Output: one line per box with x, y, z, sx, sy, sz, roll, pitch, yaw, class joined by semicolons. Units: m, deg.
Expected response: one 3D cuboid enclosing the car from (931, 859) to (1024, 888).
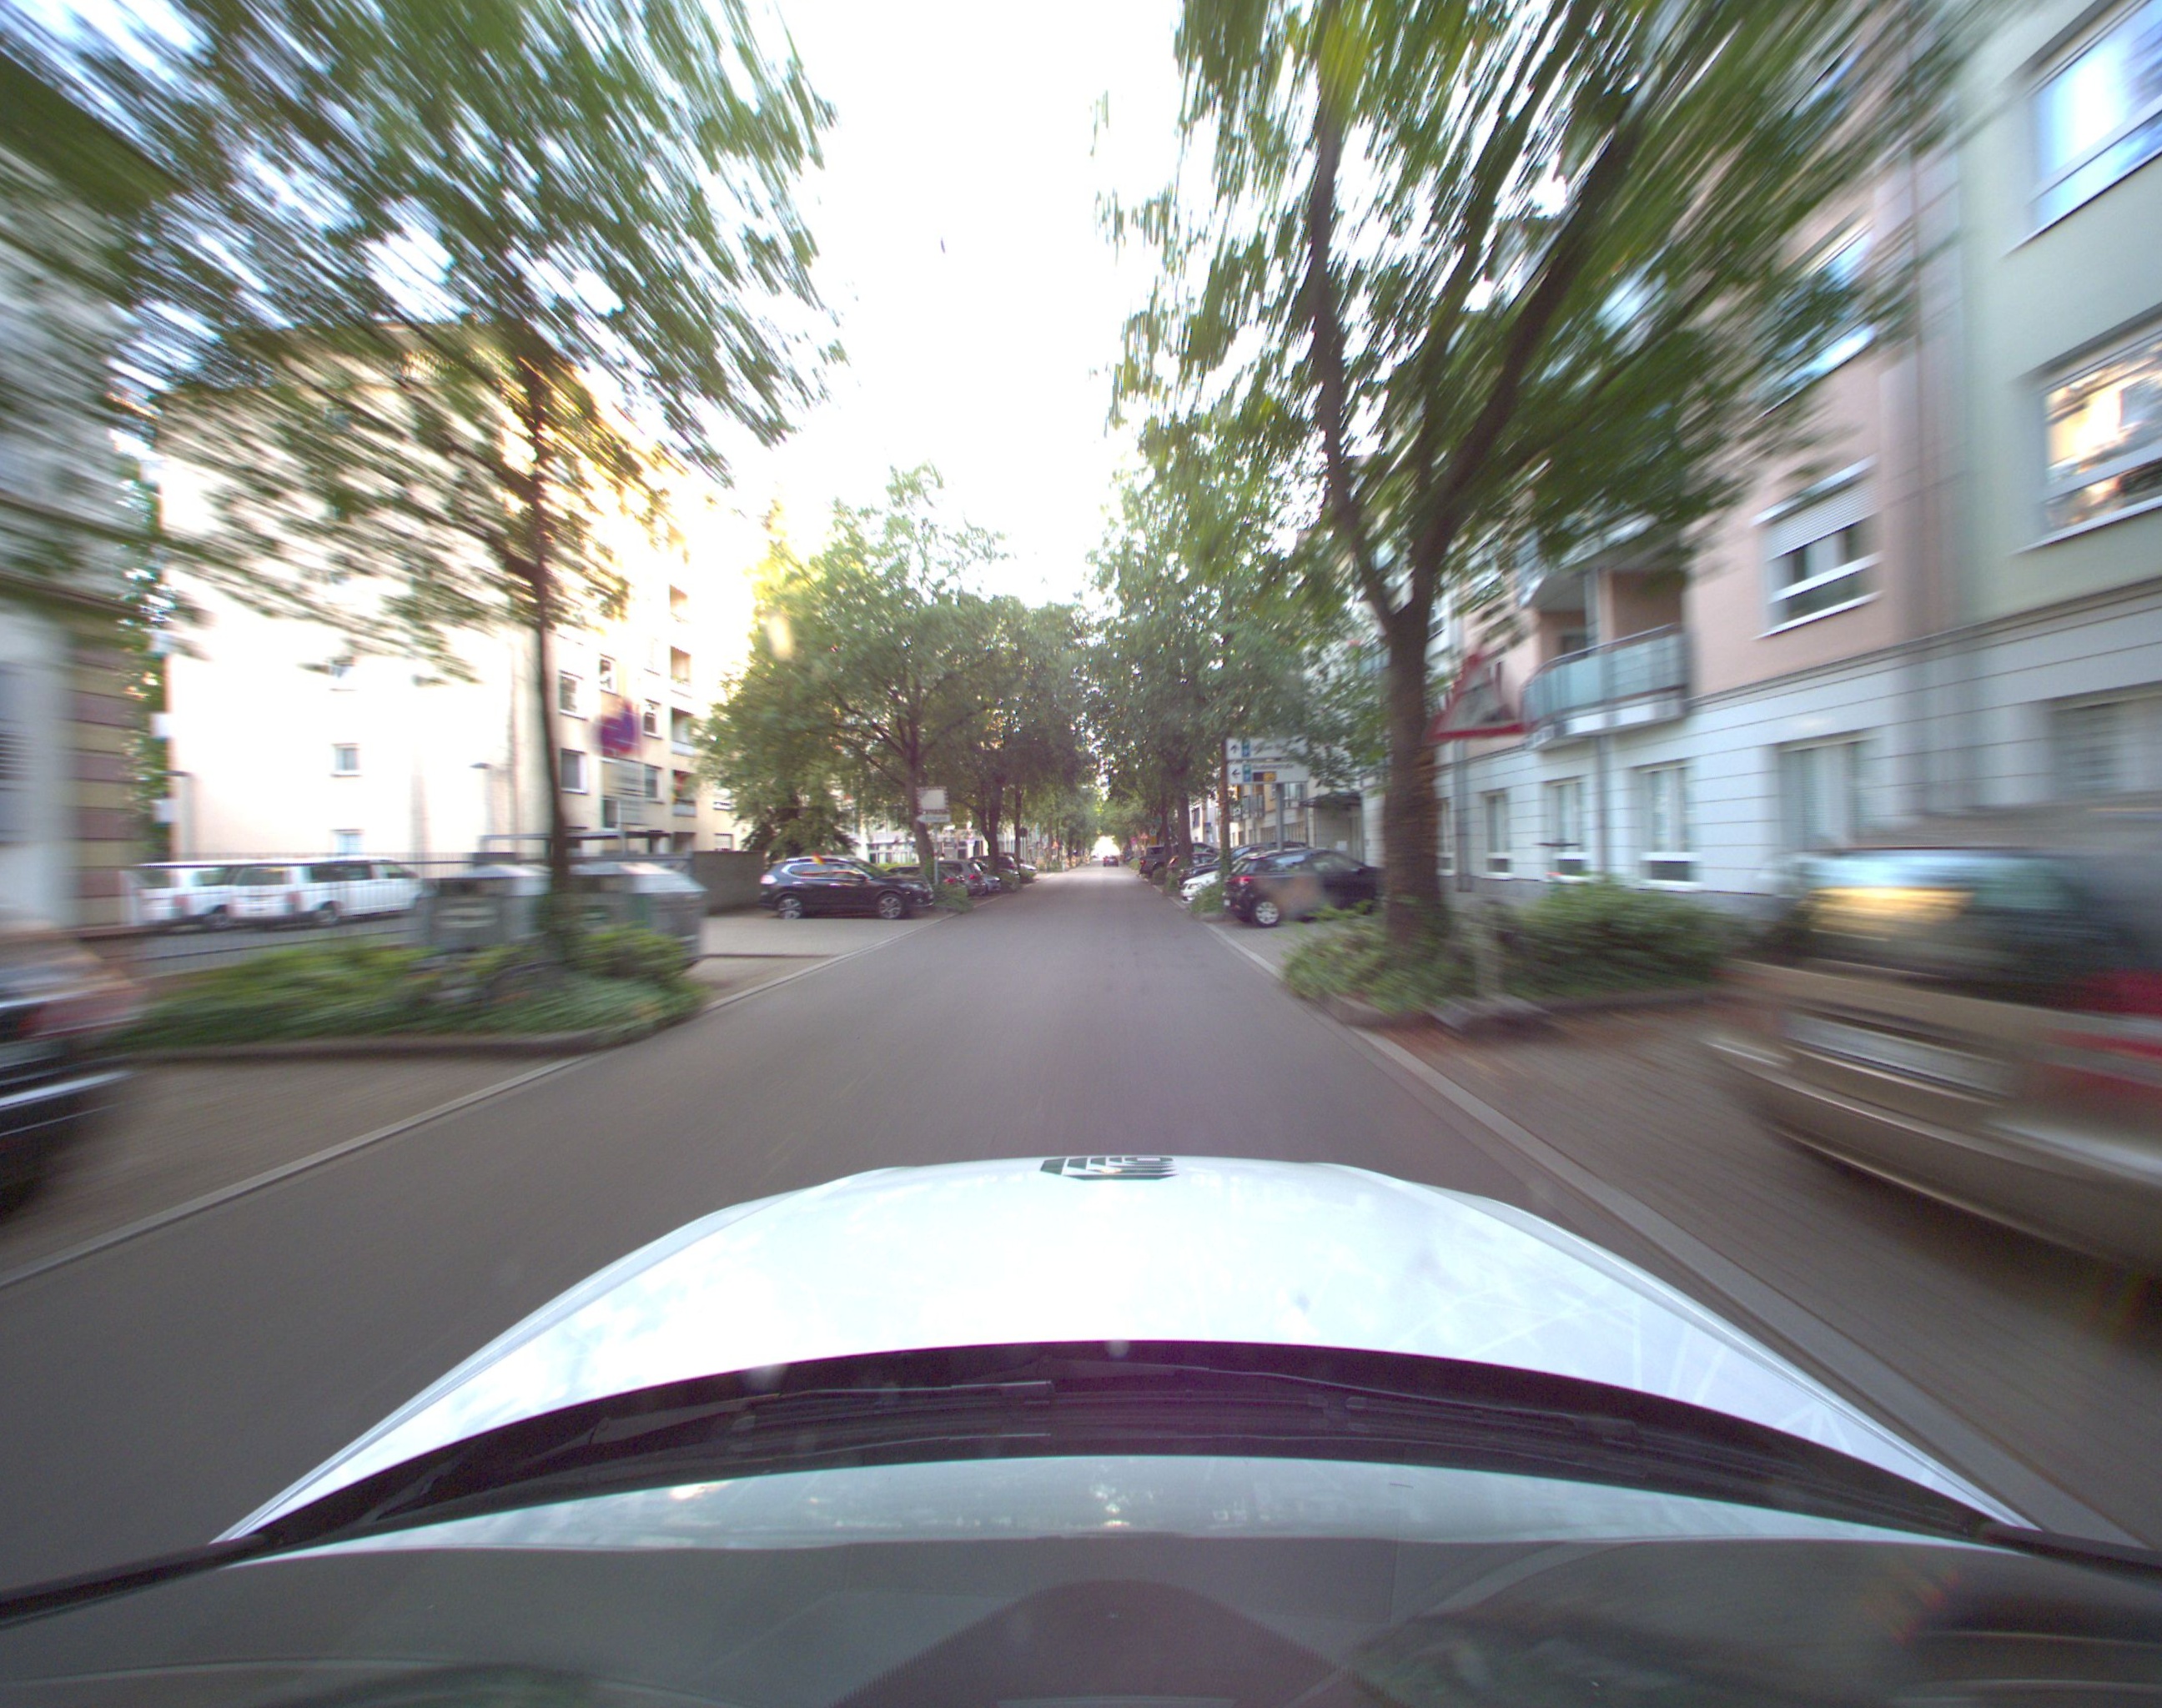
-5.529;1.041;43.992;4.701;1.424;2.071;-1;0;-1;car

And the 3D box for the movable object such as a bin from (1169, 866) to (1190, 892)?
4.099;1.029;33.961;0.772;1.068;0.589;-2;-1;1;movable object such as a bin

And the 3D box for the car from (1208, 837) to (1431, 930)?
4.857;0.584;16.968;3.977;1.474;1.912;-5;0;-3;car

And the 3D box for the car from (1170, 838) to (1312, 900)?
5.480;0.509;28.164;4.379;1.703;1.891;-5;0;-7;car

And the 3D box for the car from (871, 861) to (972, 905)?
-5.922;1.055;30.543;3.394;1.506;1.664;-2;0;-1;car

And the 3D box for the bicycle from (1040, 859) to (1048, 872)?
-3.341;1.036;73.459;0.599;1.118;1.800;-2;0;2;bicycle

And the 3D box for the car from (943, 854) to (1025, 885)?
-5.418;0.869;46.117;4.382;1.684;2.064;0;0;-1;car

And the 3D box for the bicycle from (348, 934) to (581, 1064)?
-5.455;1.259;7.301;1.562;0.937;0.481;-2;0;-22;bicycle

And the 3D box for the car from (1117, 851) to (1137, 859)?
9.986;0.242;177.076;3.976;1.597;1.999;-2;0;-2;car

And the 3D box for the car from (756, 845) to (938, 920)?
-6.387;0.765;22.582;4.402;1.892;2.000;-1;0;1;car

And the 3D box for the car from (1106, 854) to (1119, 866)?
3.950;0.724;101.054;1.495;1.416;3.715;-2;0;2;car

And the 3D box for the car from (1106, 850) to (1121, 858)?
8.773;-0.101;221.275;3.970;2.013;2.002;-2;0;3;car

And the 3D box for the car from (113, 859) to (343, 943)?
-24.170;1.236;23.364;1.775;1.995;4.418;-2;1;2;car

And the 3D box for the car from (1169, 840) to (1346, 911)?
4.872;0.590;22.937;4.556;1.552;1.773;-5;0;1;car

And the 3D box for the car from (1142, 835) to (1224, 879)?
6.066;0.183;48.858;4.603;2.133;2.037;-6;0;1;car

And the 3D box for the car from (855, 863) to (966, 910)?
-5.753;1.091;27.691;3.394;1.442;1.594;-2;0;-1;car

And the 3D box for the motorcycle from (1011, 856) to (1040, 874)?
-4.806;0.959;70.515;2.391;1.440;0.792;-2;0;-38;motorcycle

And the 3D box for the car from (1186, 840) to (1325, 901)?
5.393;0.520;25.573;3.970;1.525;1.728;-5;-1;3;car

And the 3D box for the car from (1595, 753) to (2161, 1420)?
4.465;0.449;2.986;3.848;1.667;1.926;-4;0;1;car

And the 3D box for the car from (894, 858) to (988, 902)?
-5.559;1.033;32.625;3.394;1.609;1.760;-2;0;-1;car

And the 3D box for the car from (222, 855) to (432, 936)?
-21.469;1.086;23.504;1.775;1.956;4.418;-2;1;2;car

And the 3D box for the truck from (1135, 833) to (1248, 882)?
6.187;0.184;46.306;5.982;2.133;2.262;-6;0;1;truck

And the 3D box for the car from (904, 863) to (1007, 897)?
-5.321;1.091;34.882;4.087;1.379;1.746;-1;0;-1;car

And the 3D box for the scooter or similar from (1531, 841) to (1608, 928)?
7.376;0.438;12.347;0.397;1.240;1.253;-2;0;2;scooter or similar

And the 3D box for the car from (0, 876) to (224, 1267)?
-6.467;0.966;3.292;3.975;1.588;1.827;-2;0;-1;car

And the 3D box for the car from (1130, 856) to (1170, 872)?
7.892;1.125;93.071;4.417;1.591;1.630;-2;-1;3;car

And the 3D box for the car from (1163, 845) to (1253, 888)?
5.645;0.565;36.613;3.653;1.548;1.780;-5;-2;-1;car

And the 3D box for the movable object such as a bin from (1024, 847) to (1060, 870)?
-4.225;0.462;89.014;3.653;2.333;2.583;-2;0;0;movable object such as a bin

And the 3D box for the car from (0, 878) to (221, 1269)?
-6.474;0.966;3.344;3.972;1.591;1.789;-1;0;1;car

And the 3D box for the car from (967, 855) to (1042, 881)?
-4.763;0.893;51.176;4.480;1.581;2.056;0;-1;2;car
